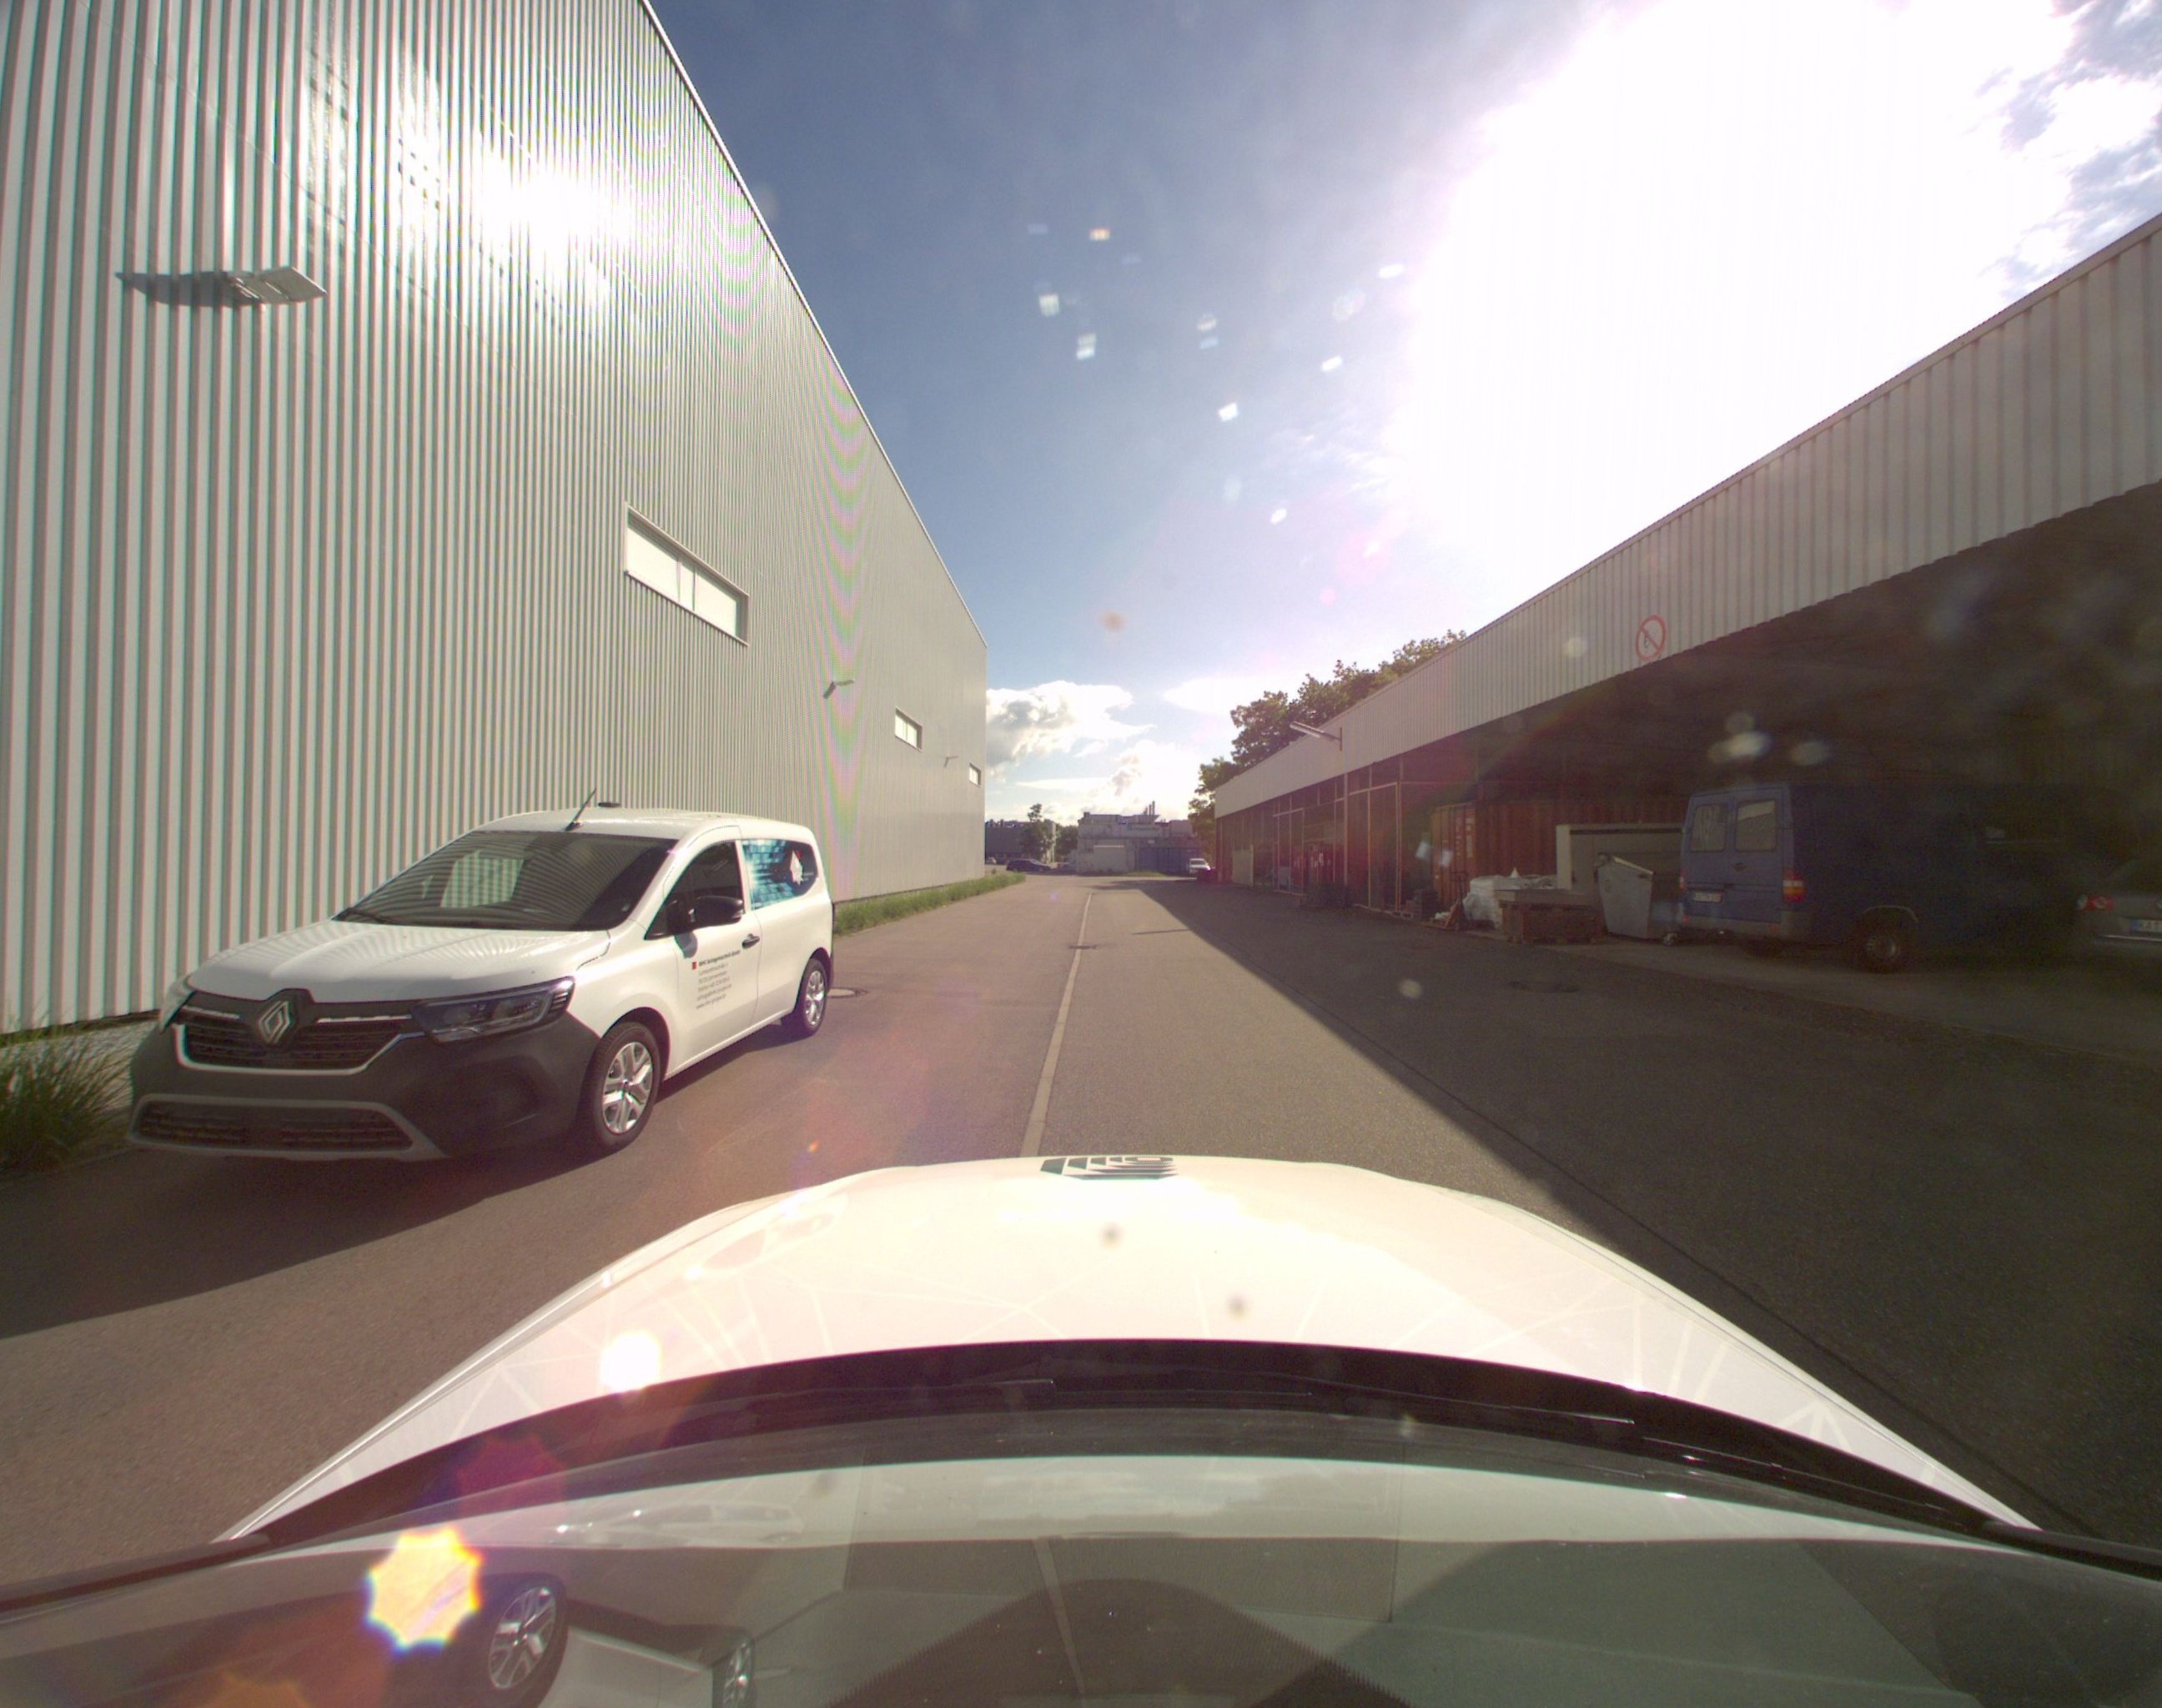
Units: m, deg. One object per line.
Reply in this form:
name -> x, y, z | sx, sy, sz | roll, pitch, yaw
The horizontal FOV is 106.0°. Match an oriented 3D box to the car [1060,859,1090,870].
car -> -0.818, 1.532, 115.316 | 4.288, 1.457, 1.824 | -1, -1, 0

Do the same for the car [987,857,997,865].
car -> -20.165, 1.605, 184.819 | 1.960, 1.712, 4.028 | -1, -1, -1

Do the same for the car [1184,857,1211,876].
car -> 10.682, 1.144, 74.835 | 1.971, 1.602, 4.380 | -1, 1, 3

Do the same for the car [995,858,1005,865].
car -> -18.140, 1.642, 182.961 | 1.852, 1.494, 4.028 | -1, -1, -1

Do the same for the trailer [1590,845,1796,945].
trailer -> 9.771, 0.625, 13.155 | 2.028, 1.466, 1.741 | -1, -1, 5

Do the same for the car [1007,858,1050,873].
car -> -5.657, 1.211, 87.469 | 4.432, 1.531, 1.824 | -1, -1, 0

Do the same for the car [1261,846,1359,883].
car -> 12.415, 0.566, 44.356 | 4.764, 1.916, 1.995 | 0, -1, -7

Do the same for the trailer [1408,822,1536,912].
trailer -> 10.074, 0.329, 21.213 | 1.914, 2.143, 2.803 | -1, -1, -1

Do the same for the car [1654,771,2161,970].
car -> 10.828, 0.200, 10.535 | 5.314, 2.281, 2.152 | 0, -1, 0

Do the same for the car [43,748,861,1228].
car -> -3.065, 0.548, 5.475 | 1.777, 1.816, 4.602 | 2, -1, 1

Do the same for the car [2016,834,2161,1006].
car -> 11.438, 0.568, 7.369 | 3.954, 1.514, 1.838 | 0, -1, -2

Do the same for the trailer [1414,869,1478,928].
trailer -> 7.264, 0.861, 16.290 | 0.550, 1.118, 1.546 | -1, -1, -1
